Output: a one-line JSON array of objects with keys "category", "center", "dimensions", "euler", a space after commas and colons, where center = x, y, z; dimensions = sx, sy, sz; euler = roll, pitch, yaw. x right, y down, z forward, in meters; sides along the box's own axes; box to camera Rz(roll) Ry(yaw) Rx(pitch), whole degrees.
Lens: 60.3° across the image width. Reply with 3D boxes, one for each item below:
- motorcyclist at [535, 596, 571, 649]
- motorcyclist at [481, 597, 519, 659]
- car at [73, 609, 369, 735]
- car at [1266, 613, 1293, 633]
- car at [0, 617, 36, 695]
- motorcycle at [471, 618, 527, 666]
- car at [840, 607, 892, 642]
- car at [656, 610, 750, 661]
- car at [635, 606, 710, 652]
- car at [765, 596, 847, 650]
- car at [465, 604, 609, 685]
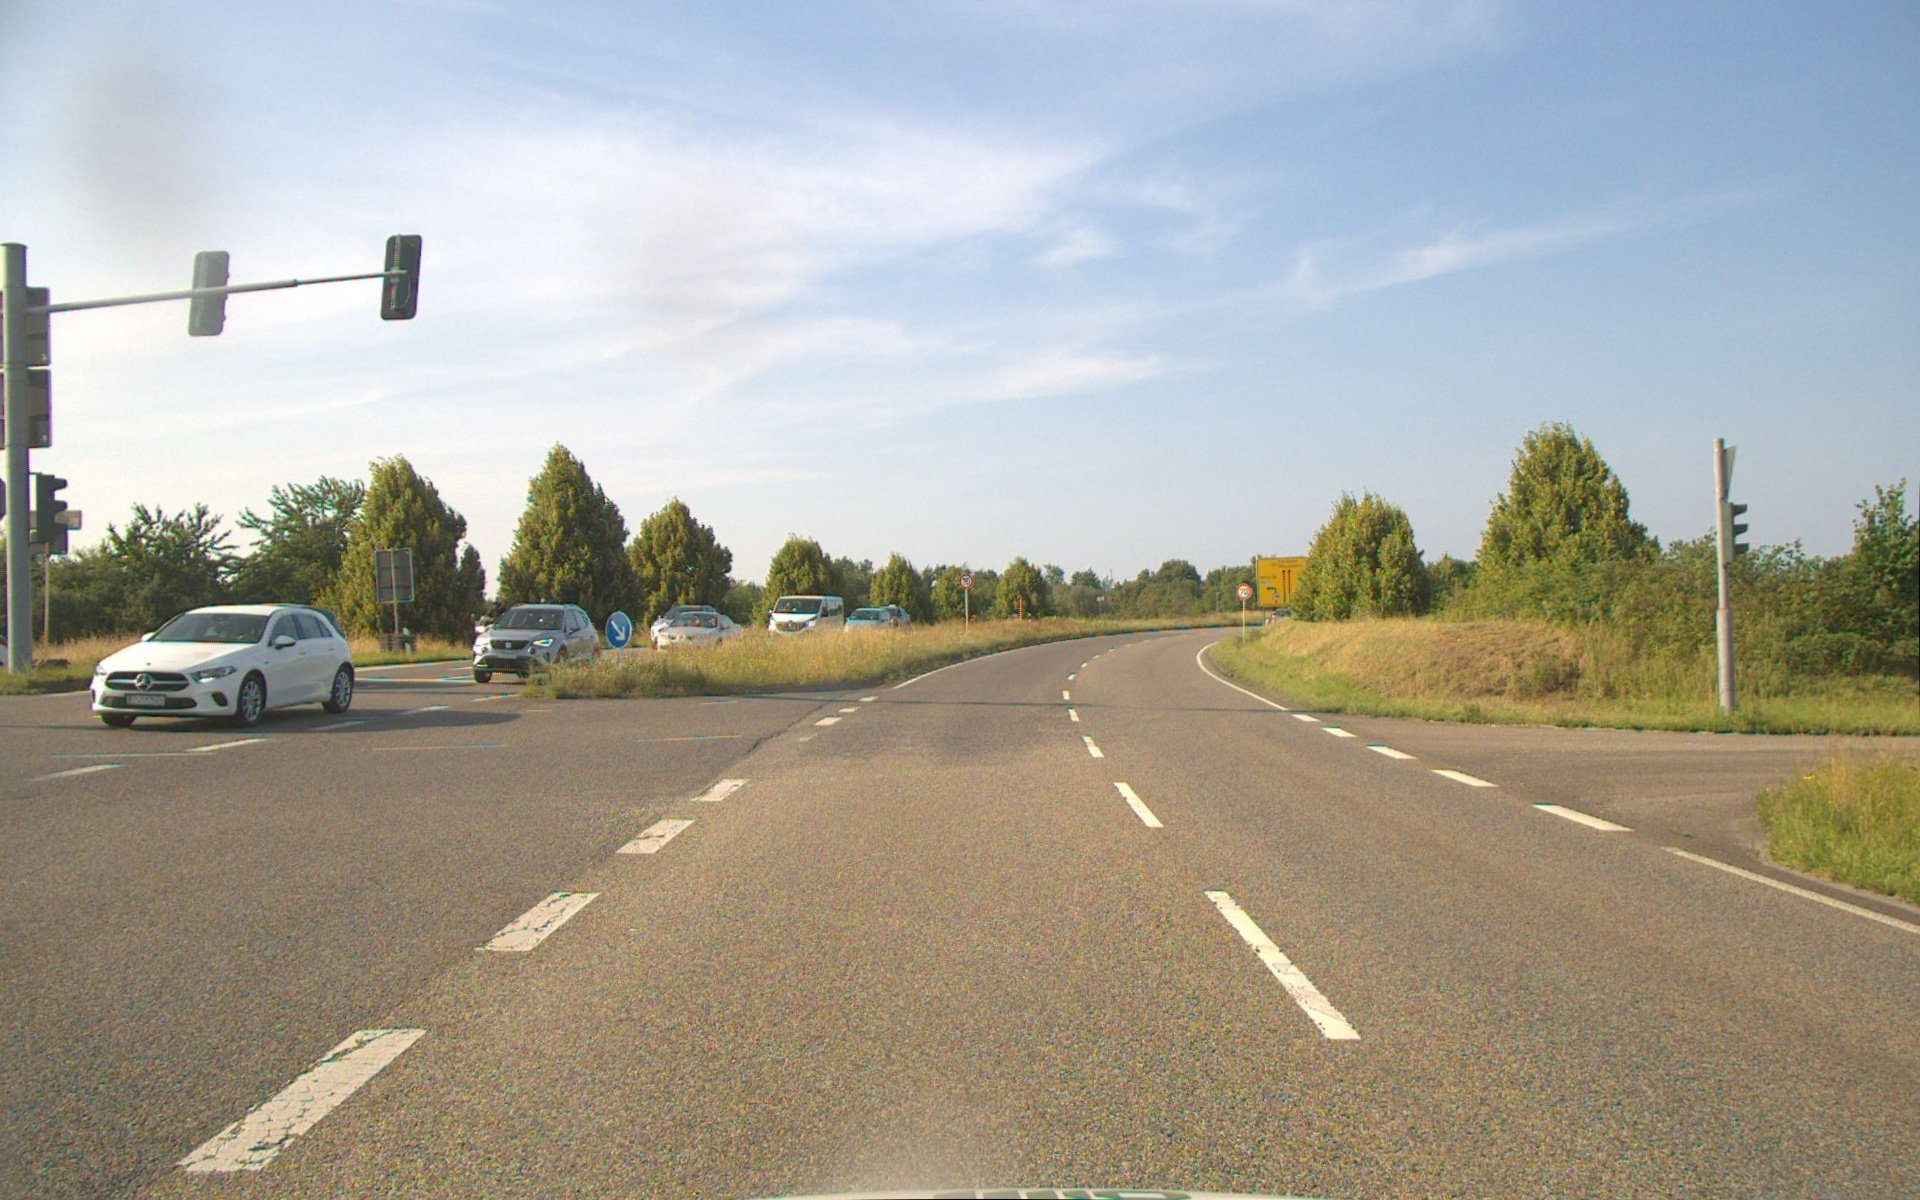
[{"category": "motorcyclist", "center": [-11.534, 0.638, 46.940], "dimensions": [0.689, 1.490, 1.021], "euler": [0, -1, 5]}, {"category": "motorcyclist", "center": [-11.506, 0.687, 41.366], "dimensions": [0.683, 1.529, 0.896], "euler": [0, 0, 2]}, {"category": "car", "center": [-9.298, 0.846, 21.246], "dimensions": [1.694, 1.438, 4.395], "euler": [0, 0, 2]}, {"category": "car", "center": [25.851, 1.863, 133.858], "dimensions": [1.705, 1.547, 3.834], "euler": [0, -1, 17]}, {"category": "car", "center": [-21.006, 1.126, 32.685], "dimensions": [1.916, 1.562, 4.425], "euler": [-1, -1, 38]}, {"category": "motorcycle", "center": [-11.504, 1.024, 41.329], "dimensions": [0.686, 1.158, 2.278], "euler": [0, 0, 2]}, {"category": "car", "center": [-4.055, 1.066, 72.098], "dimensions": [1.643, 1.469, 3.754], "euler": [0, 0, 6]}, {"category": "car", "center": [-7.322, 0.987, 47.478], "dimensions": [1.658, 1.377, 4.455], "euler": [0, -1, 5]}, {"category": "car", "center": [-10.238, 1.019, 59.107], "dimensions": [1.670, 1.552, 4.137], "euler": [0, -1, 4]}, {"category": "car", "center": [-5.679, 0.836, 61.755], "dimensions": [1.951, 1.937, 5.792], "euler": [0, -1, 6]}, {"category": "car", "center": [-8.500, 0.867, 33.572], "dimensions": [1.650, 1.550, 4.094], "euler": [0, -1, 4]}]
